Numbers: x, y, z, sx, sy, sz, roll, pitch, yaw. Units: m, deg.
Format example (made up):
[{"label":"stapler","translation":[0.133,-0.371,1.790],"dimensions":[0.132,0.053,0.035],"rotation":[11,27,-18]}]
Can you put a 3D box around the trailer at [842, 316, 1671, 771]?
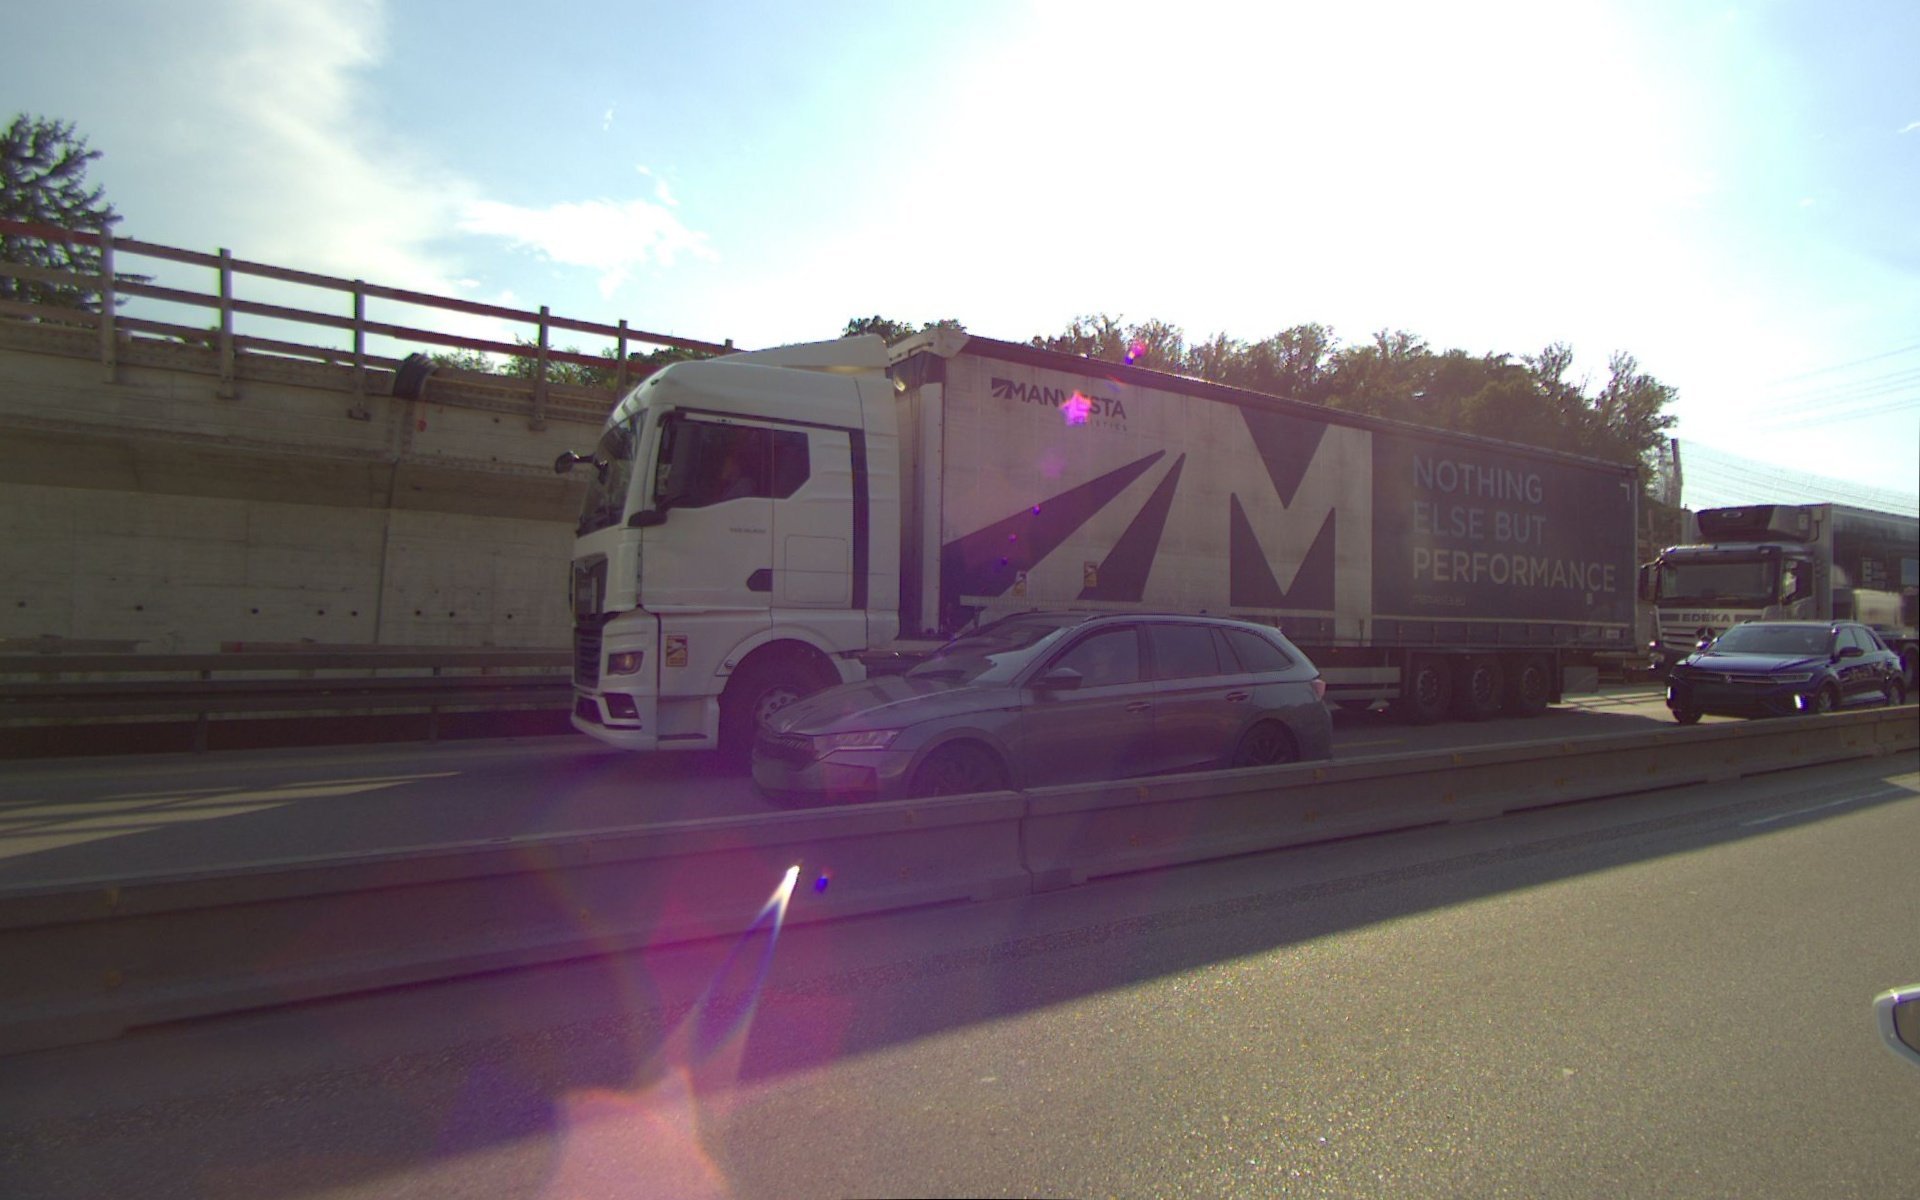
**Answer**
[{"label":"trailer","translation":[5.183,-0.304,14.166],"dimensions":[13.677,4.258,2.761],"rotation":[2,-1,-32]}]

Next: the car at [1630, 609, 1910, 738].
[{"label":"car","translation":[11.769,1.028,14.527],"dimensions":[4.430,1.571,1.757],"rotation":[3,0,-32]}]

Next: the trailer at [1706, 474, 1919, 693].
[{"label":"trailer","translation":[21.008,-0.250,23.857],"dimensions":[7.075,4.525,2.895],"rotation":[2,0,-33]}]

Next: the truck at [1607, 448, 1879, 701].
[{"label":"truck","translation":[16.202,-0.396,20.770],"dimensions":[4.973,4.574,2.903],"rotation":[2,0,-32]}]

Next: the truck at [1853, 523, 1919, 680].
[{"label":"truck","translation":[27.582,0.086,28.143],"dimensions":[4.980,4.169,2.732],"rotation":[1,-2,-35]}]

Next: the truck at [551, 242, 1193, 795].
[{"label":"truck","translation":[-0.782,-0.528,10.488],"dimensions":[6.046,4.258,2.750],"rotation":[2,-1,-31]}]

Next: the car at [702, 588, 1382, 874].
[{"label":"car","translation":[0.766,0.782,7.273],"dimensions":[4.762,1.476,1.765],"rotation":[3,0,-32]}]

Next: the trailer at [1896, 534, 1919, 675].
[{"label":"trailer","translation":[34.052,0.247,32.598],"dimensions":[12.363,4.177,2.698],"rotation":[2,-2,-34]}]
